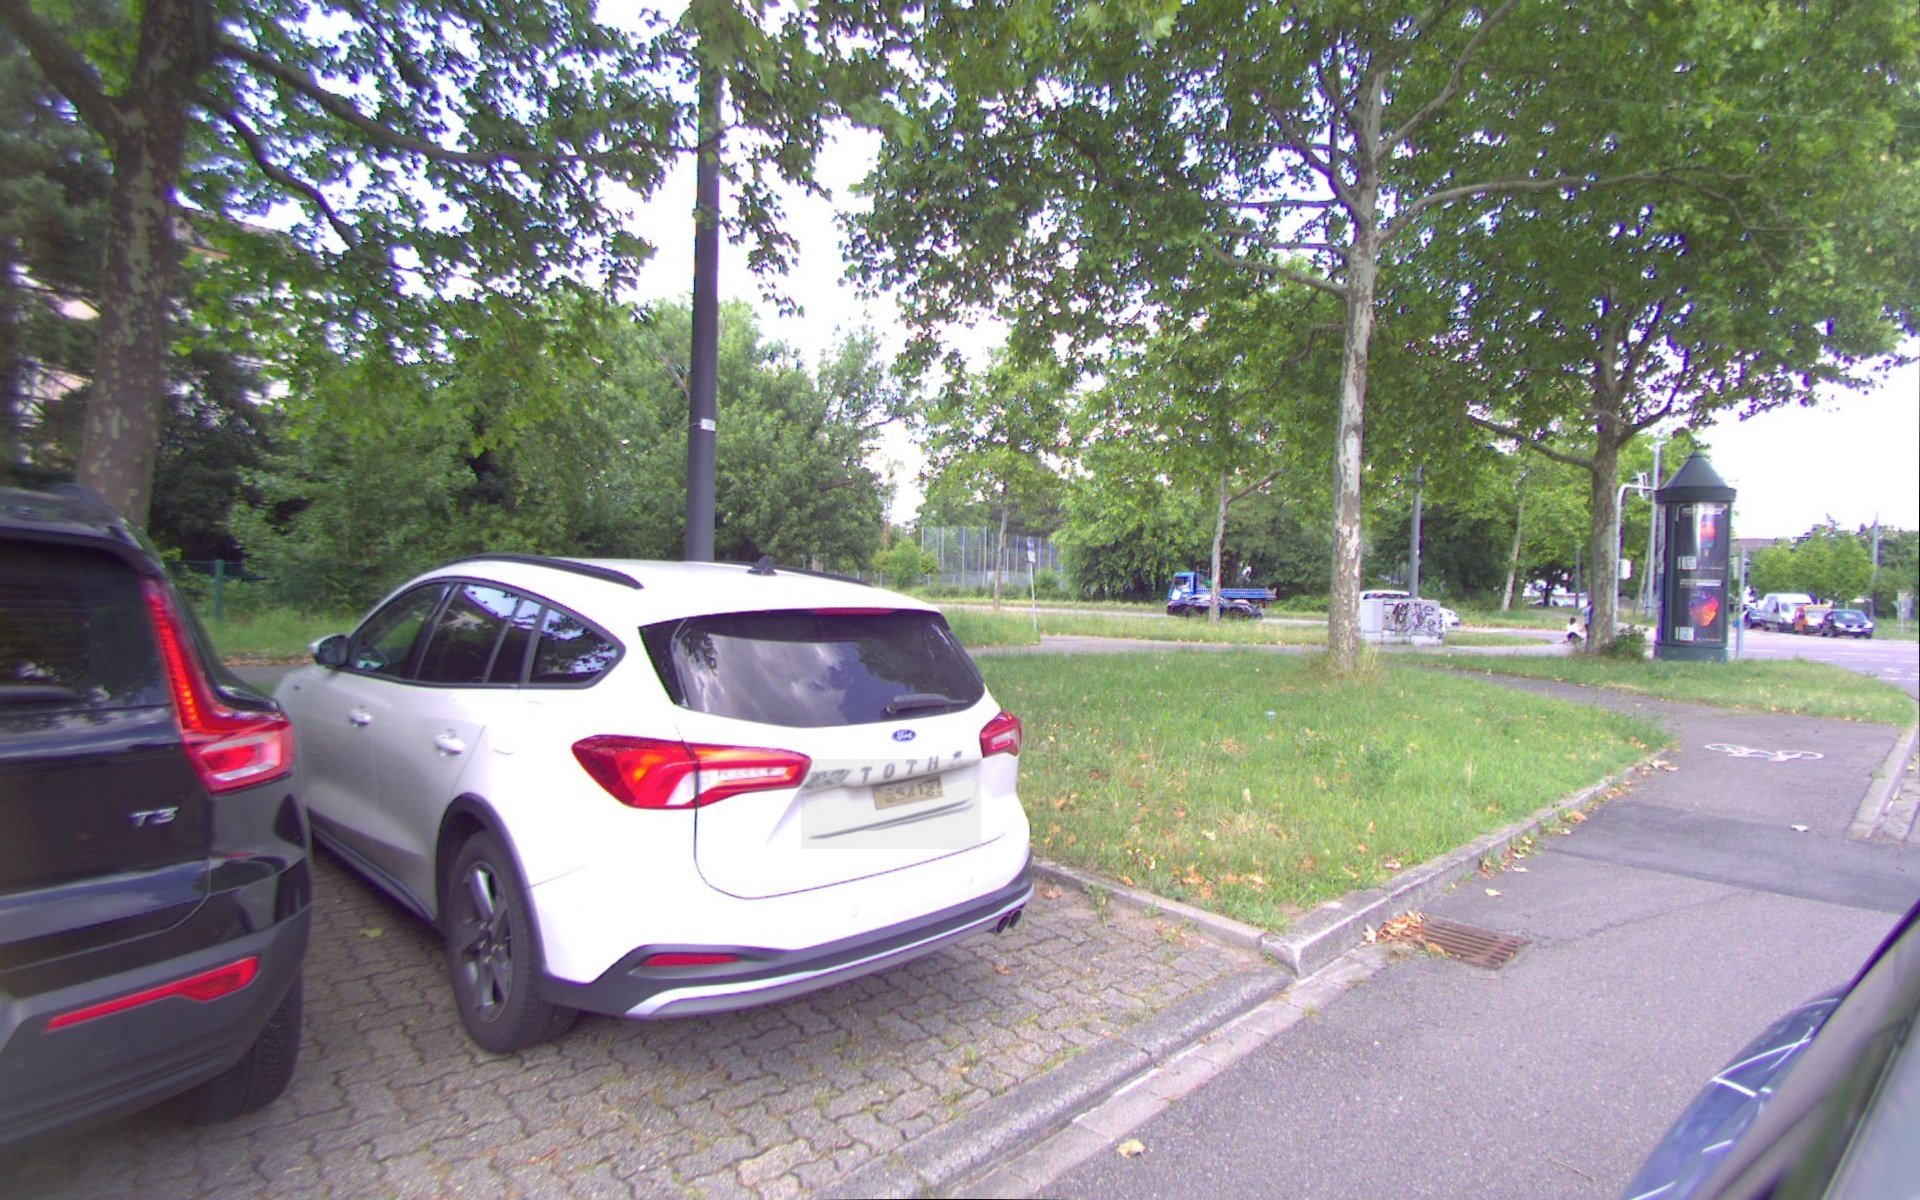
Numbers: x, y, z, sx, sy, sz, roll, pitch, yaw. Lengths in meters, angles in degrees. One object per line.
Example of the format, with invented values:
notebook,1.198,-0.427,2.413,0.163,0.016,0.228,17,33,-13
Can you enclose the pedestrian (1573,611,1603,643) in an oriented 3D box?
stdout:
pedestrian,21.464,0.908,34.579,0.720,1.047,0.888,2,1,42

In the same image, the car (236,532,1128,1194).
car,-1.707,0.497,4.597,4.662,1.492,1.818,4,2,45

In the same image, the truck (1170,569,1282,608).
truck,15.243,-0.674,58.207,5.813,2.038,2.266,2,1,33

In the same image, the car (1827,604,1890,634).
car,50.326,1.030,56.752,1.781,1.558,3.959,1,1,29

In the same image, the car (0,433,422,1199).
car,-3.421,0.432,3.108,4.662,1.646,1.818,4,2,45

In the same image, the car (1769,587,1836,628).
car,56.291,0.457,67.763,2.219,2.538,5.670,1,1,28

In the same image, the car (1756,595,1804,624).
car,58.928,0.644,72.792,1.780,1.959,4.326,1,1,28

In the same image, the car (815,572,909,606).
car,-5.228,-0.614,53.881,4.645,1.630,1.980,2,2,29

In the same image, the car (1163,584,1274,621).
car,12.026,0.091,47.110,4.706,1.487,1.981,2,2,28

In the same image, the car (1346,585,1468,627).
car,19.256,0.216,43.621,4.644,1.630,1.981,2,2,28

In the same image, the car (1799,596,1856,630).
car,53.159,0.757,62.089,1.780,1.959,4.325,1,1,29
